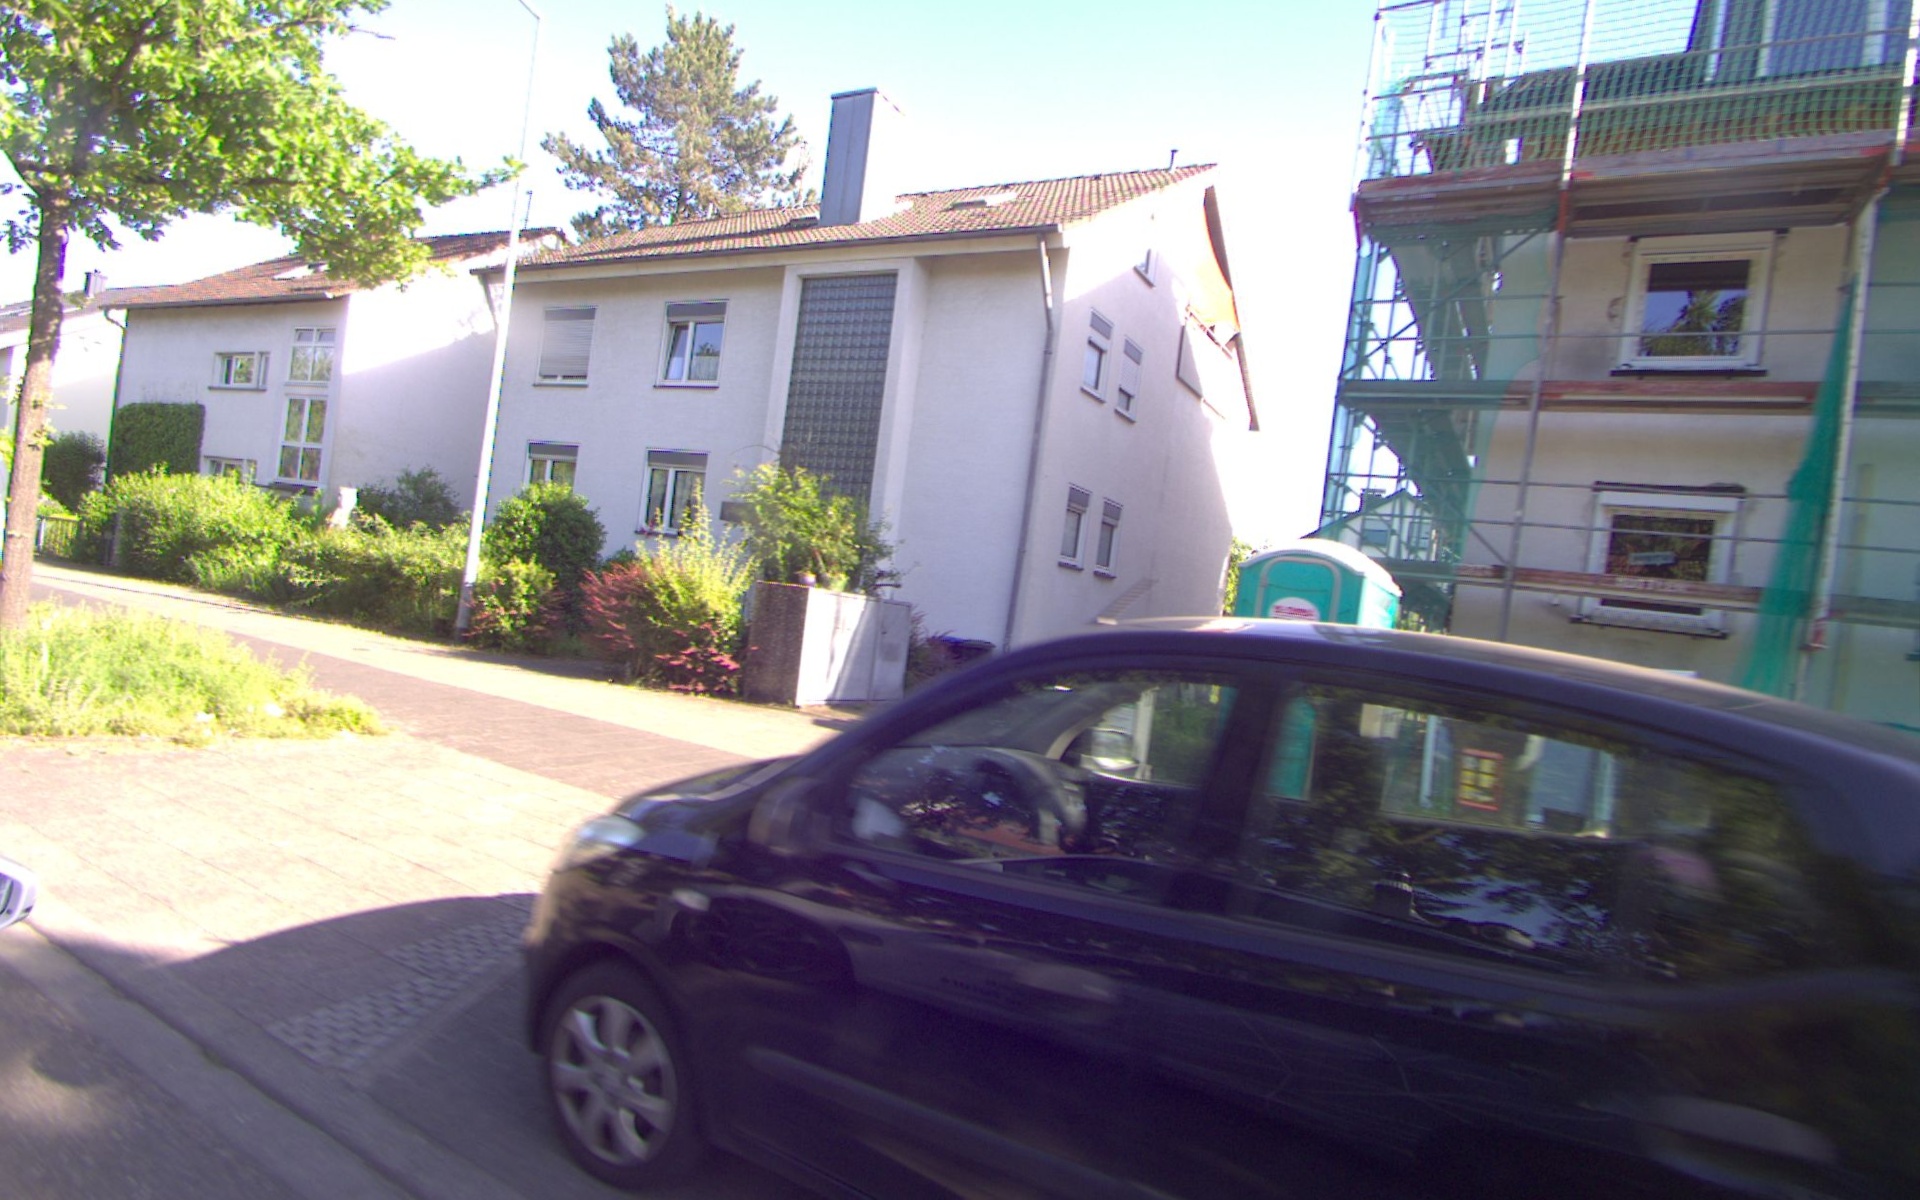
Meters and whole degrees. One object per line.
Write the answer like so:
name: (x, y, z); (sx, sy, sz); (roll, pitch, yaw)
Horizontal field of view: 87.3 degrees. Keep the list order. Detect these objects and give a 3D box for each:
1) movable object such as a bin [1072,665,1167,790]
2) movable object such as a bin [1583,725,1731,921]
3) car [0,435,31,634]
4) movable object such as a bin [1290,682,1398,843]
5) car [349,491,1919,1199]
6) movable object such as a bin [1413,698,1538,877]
movable object such as a bin: (1.358, 1.063, 8.521); (0.540, 0.944, 0.530); (7, 0, 30)
movable object such as a bin: (4.520, 1.417, 6.572); (0.635, 1.082, 0.604); (7, 0, 30)
car: (-12.081, -0.954, 10.624); (4.677, 1.995, 1.839); (7, 0, 29)
movable object such as a bin: (2.917, 1.200, 7.624); (0.557, 1.082, 0.604); (7, 0, 30)
car: (0.301, 0.713, 2.653); (3.689, 1.599, 1.673); (7, 2, 31)
movable object such as a bin: (3.600, 1.271, 7.020); (0.635, 1.082, 0.604); (7, 0, 30)
